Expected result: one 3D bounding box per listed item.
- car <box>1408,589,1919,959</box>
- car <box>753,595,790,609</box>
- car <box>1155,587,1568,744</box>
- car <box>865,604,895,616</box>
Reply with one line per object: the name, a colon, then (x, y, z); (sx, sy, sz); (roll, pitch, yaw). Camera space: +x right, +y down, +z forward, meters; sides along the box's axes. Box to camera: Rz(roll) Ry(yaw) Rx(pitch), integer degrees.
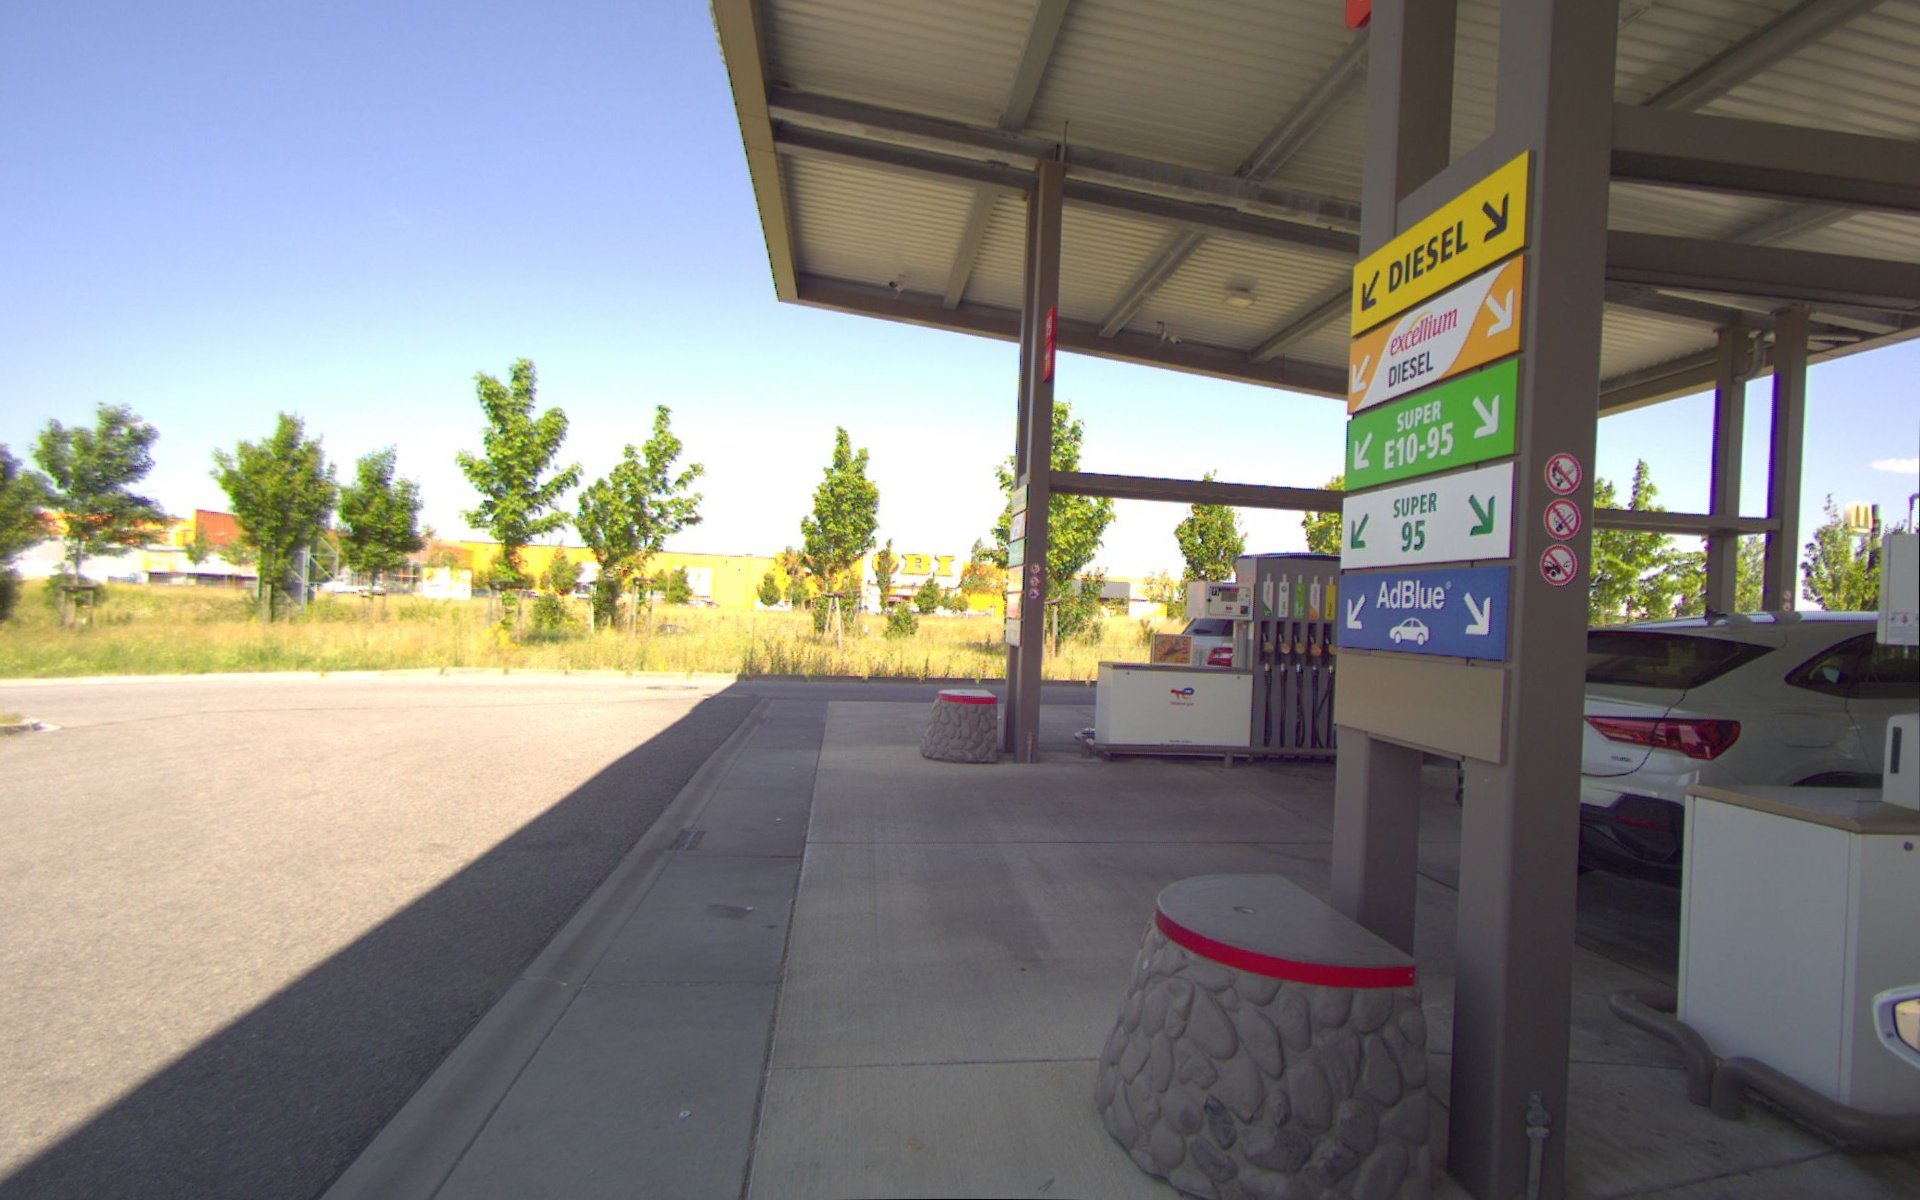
car: (4.910, 0.818, 5.369); (4.245, 1.562, 1.784); (2, 0, -7)
car: (-23.728, 0.293, 126.386); (4.302, 1.568, 1.792); (2, -1, -5)
car: (4.909, 0.795, 12.536); (4.455, 1.710, 1.862); (2, 0, -11)
car: (-11.206, 1.382, 140.938); (4.091, 1.490, 1.670); (2, -1, -5)
